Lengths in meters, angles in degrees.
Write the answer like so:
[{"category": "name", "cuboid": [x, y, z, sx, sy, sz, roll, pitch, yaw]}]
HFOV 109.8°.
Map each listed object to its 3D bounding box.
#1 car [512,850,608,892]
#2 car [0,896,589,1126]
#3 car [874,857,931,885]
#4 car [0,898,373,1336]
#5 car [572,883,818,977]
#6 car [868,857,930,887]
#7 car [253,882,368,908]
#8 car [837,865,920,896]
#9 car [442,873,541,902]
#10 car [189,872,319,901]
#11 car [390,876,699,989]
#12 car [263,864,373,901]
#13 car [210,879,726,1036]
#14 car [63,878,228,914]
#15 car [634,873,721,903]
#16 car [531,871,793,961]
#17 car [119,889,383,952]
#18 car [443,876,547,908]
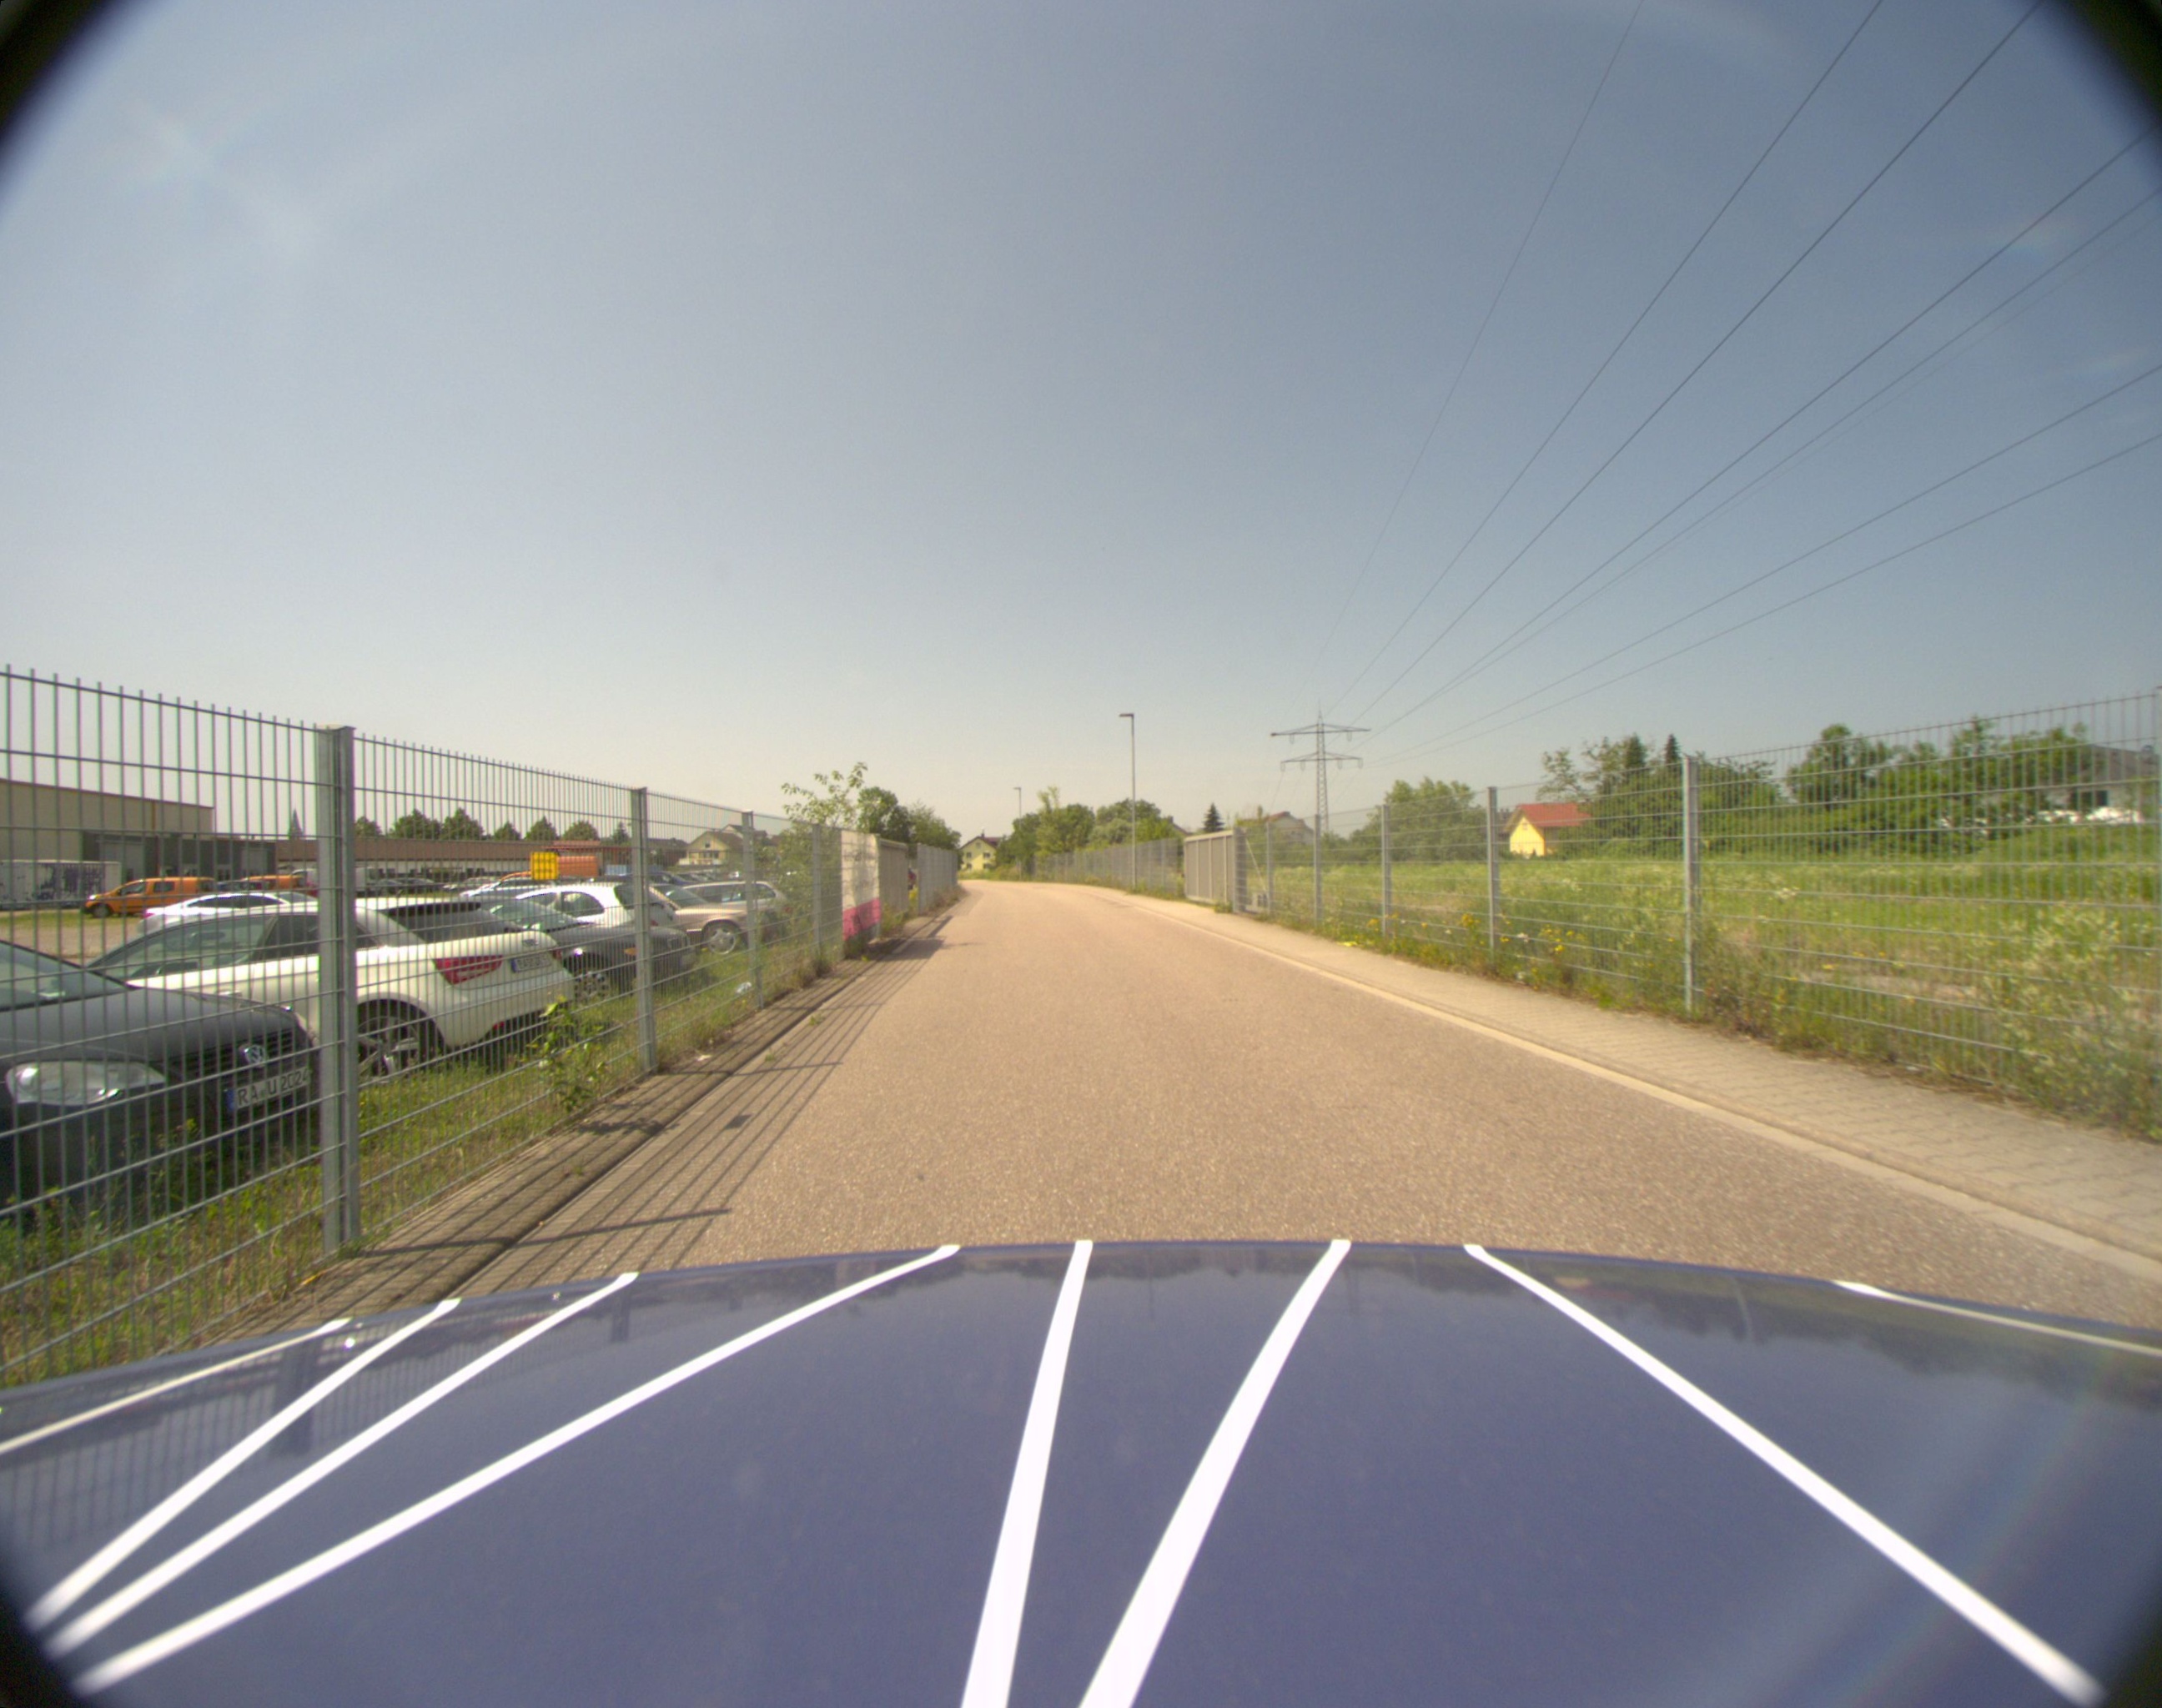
[{"category": "car", "cuboid": [-33.238, 1.095, 48.621, 4.751, 2.569, 1.977, 0, -1, -21]}, {"category": "car", "cuboid": [-6.209, 1.100, 5.980, 3.535, 1.381, 1.635, -1, 0, -8]}, {"category": "car", "cuboid": [-13.233, 1.255, 56.399, 4.001, 2.002, 1.998, -1, 0, -11]}, {"category": "car", "cuboid": [-5.934, 1.071, 3.382, 3.660, 1.469, 1.750, -2, 2, -8]}, {"category": "car", "cuboid": [-7.850, 1.505, 15.822, 4.177, 1.465, 1.637, -4, 1, -9]}, {"category": "car", "cuboid": [-12.464, 1.215, 52.307, 4.001, 2.002, 1.998, -1, 0, -11]}, {"category": "car", "cuboid": [-45.386, 2.394, 44.881, 4.394, 1.369, 1.839, 0, -1, -21]}, {"category": "car", "cuboid": [-11.248, 1.441, 42.517, 4.294, 1.627, 1.764, -1, -1, -9]}, {"category": "car", "cuboid": [-31.232, 1.762, 40.350, 3.833, 1.453, 1.586, 0, -1, -21]}, {"category": "car", "cuboid": [-45.305, 1.771, 41.775, 4.395, 1.476, 1.970, 0, -1, -24]}, {"category": "car", "cuboid": [-7.557, 1.058, 10.997, 3.278, 1.346, 1.527, -2, 0, -9]}, {"category": "car", "cuboid": [-47.089, 1.708, 47.036, 4.395, 2.158, 1.970, 0, -1, -24]}, {"category": "car", "cuboid": [-6.517, 1.049, 8.564, 4.196, 1.346, 1.722, -2, 0, -8]}, {"category": "car", "cuboid": [-42.081, 1.871, 34.327, 4.395, 1.476, 1.750, 0, -1, -24]}, {"category": "car", "cuboid": [-20.855, 1.732, 39.427, 3.777, 1.428, 1.609, 0, -1, -21]}, {"category": "car", "cuboid": [-7.312, 1.052, 13.603, 3.674, 1.346, 1.739, -2, 0, -7]}, {"category": "car", "cuboid": [-22.074, 1.737, 20.457, 4.528, 1.343, 1.624, -1, 0, -20]}, {"category": "car", "cuboid": [-29.346, 1.886, 38.168, 3.833, 1.453, 1.586, 0, -1, -21]}]
